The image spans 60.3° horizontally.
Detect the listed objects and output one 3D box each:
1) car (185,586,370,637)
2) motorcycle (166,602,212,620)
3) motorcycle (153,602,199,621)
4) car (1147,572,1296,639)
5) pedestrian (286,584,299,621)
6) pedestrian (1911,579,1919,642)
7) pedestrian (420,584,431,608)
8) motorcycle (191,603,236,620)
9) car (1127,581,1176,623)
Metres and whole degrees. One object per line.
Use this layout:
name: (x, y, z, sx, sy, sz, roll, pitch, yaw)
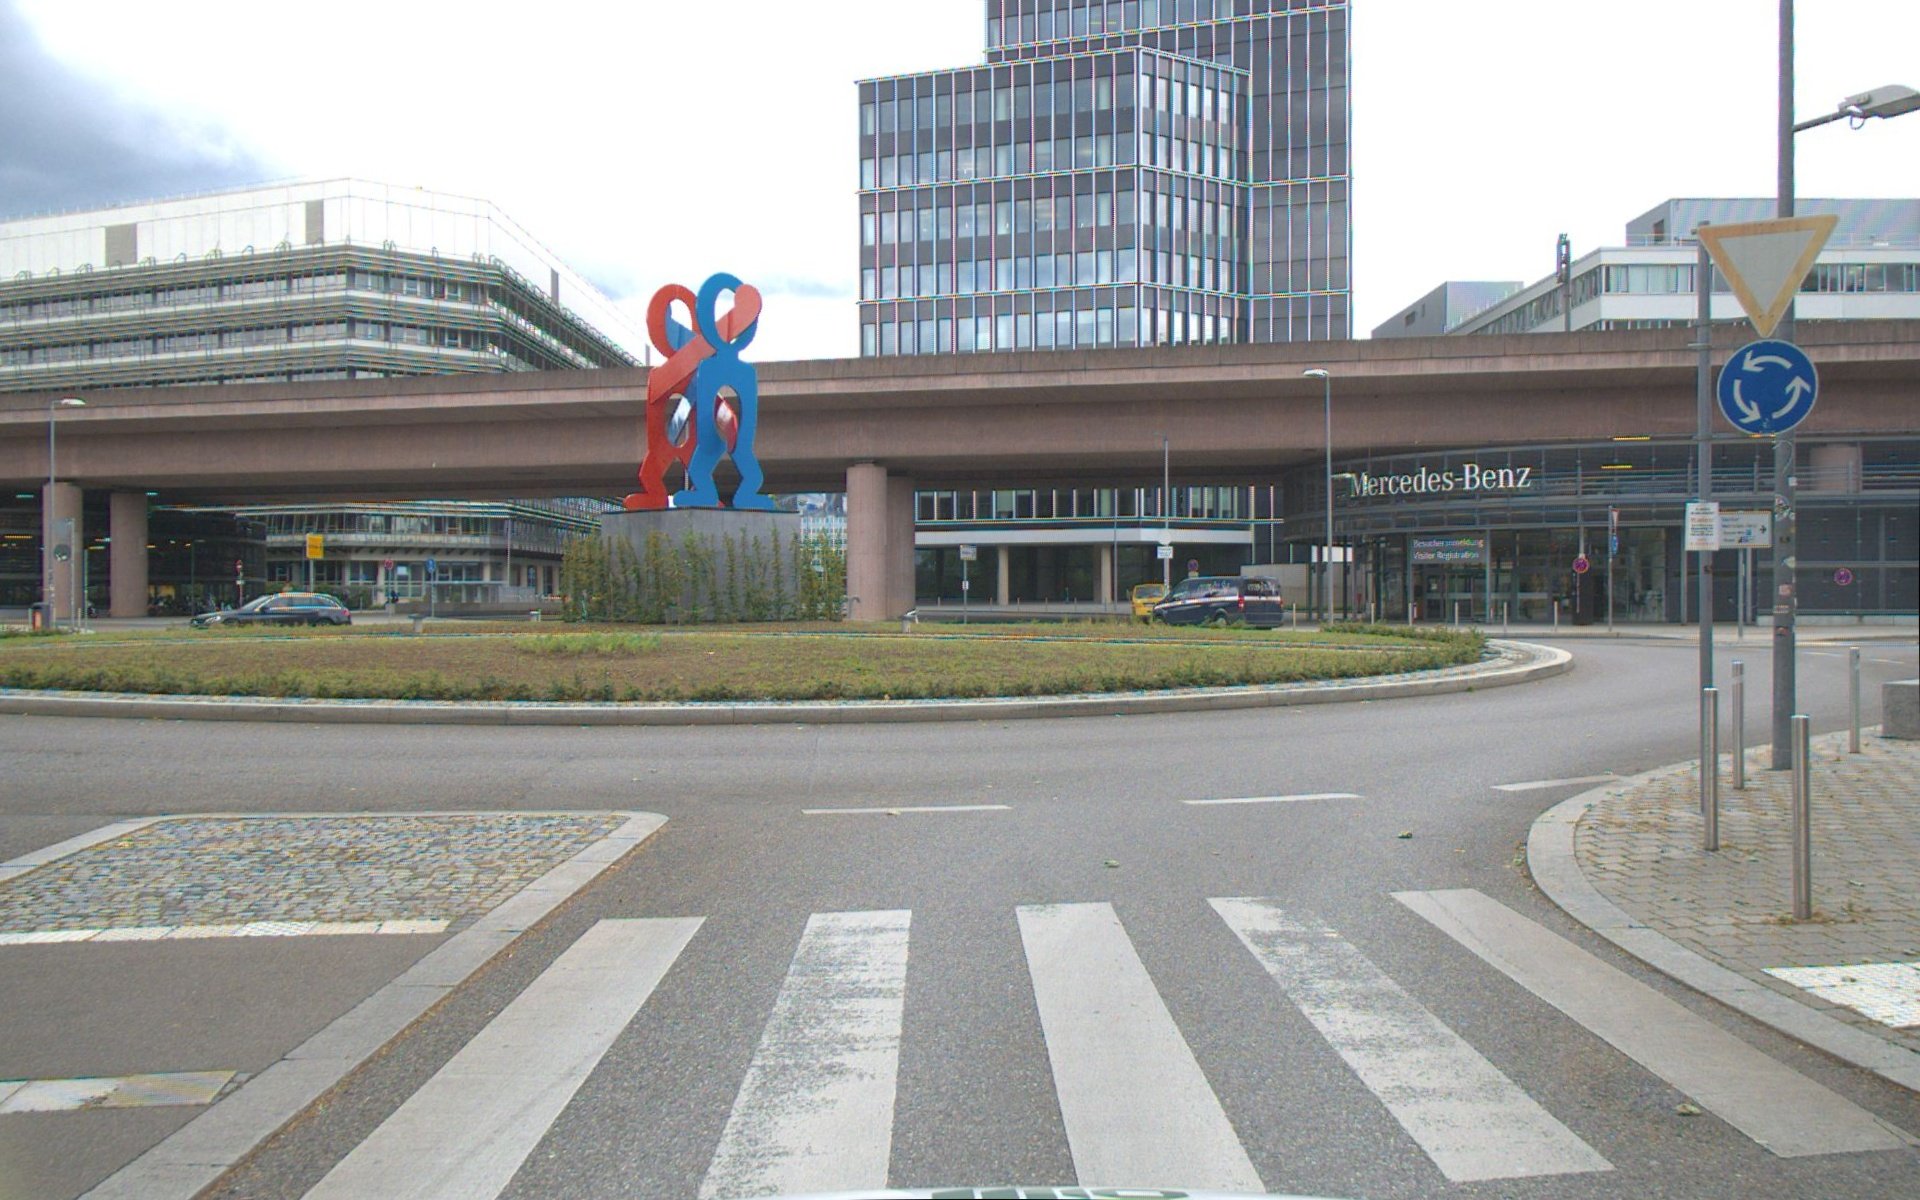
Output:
car: (-20.833, 0.373, 50.607, 4.889, 1.486, 1.971, 1, -1, -41)
motorcycle: (-49.482, 0.728, 106.174, 2.597, 1.132, 1.040, 0, 0, 17)
motorcycle: (-49.727, 0.719, 104.899, 2.597, 1.132, 1.040, 0, 0, 17)
car: (8.334, 0.171, 53.124, 2.253, 2.049, 4.734, 1, 0, -30)
pedestrian: (-37.131, 0.121, 92.073, 0.578, 2.049, 0.596, 1, -1, -16)
pedestrian: (24.722, 0.259, 41.958, 0.813, 1.598, 0.691, 0, -1, 8)
pedestrian: (-46.442, -0.341, 143.788, 0.760, 2.049, 0.670, 0, 0, -4)
motorcycle: (-48.621, 0.745, 107.759, 2.597, 1.132, 1.040, 0, 0, 17)
car: (9.603, 0.095, 82.650, 1.951, 2.049, 4.003, 0, 0, 13)
